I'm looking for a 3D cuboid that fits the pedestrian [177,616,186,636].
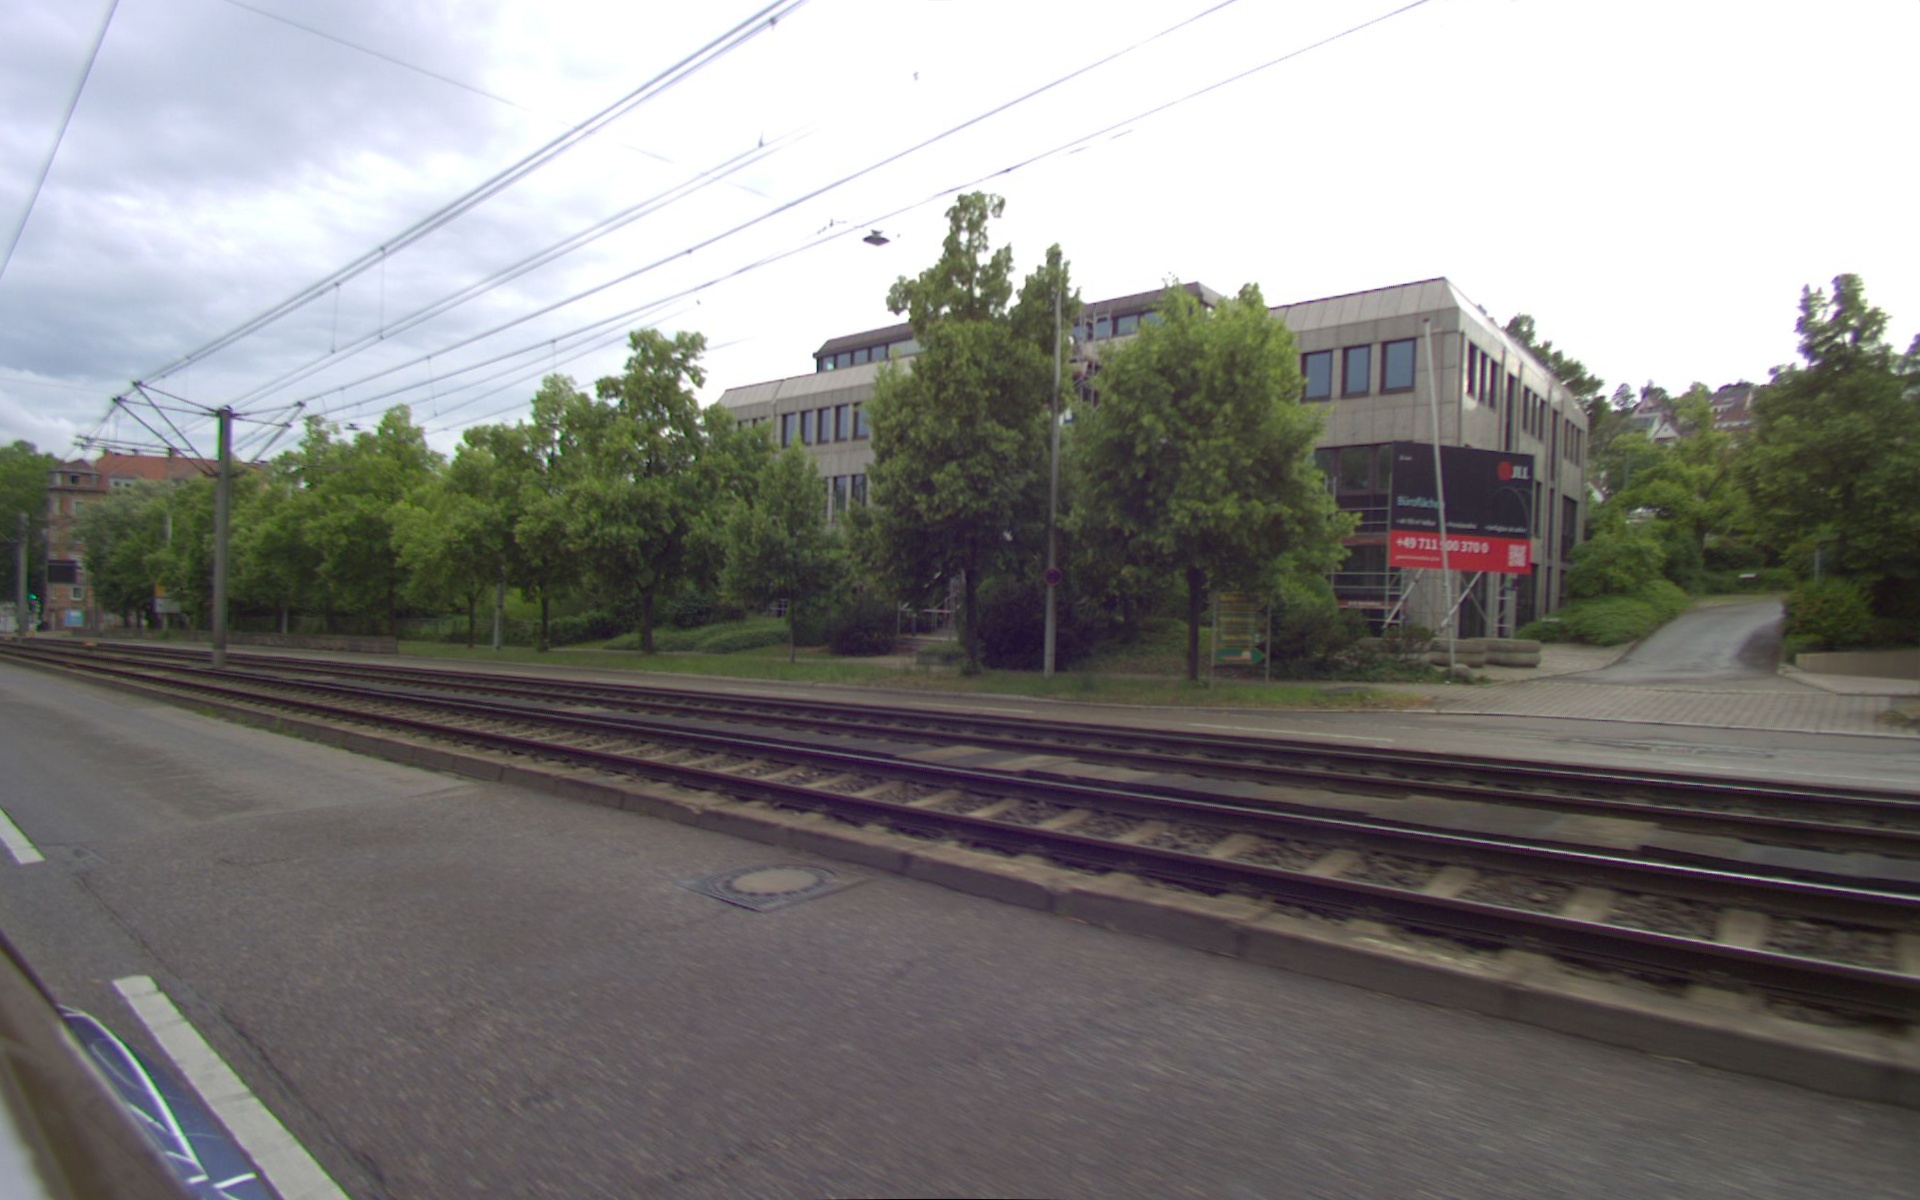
[{"bbox_3d":[-72.929,2.445,94.806,0.653,1.917,0.590,-1,-1,38],"label":"pedestrian"}]
